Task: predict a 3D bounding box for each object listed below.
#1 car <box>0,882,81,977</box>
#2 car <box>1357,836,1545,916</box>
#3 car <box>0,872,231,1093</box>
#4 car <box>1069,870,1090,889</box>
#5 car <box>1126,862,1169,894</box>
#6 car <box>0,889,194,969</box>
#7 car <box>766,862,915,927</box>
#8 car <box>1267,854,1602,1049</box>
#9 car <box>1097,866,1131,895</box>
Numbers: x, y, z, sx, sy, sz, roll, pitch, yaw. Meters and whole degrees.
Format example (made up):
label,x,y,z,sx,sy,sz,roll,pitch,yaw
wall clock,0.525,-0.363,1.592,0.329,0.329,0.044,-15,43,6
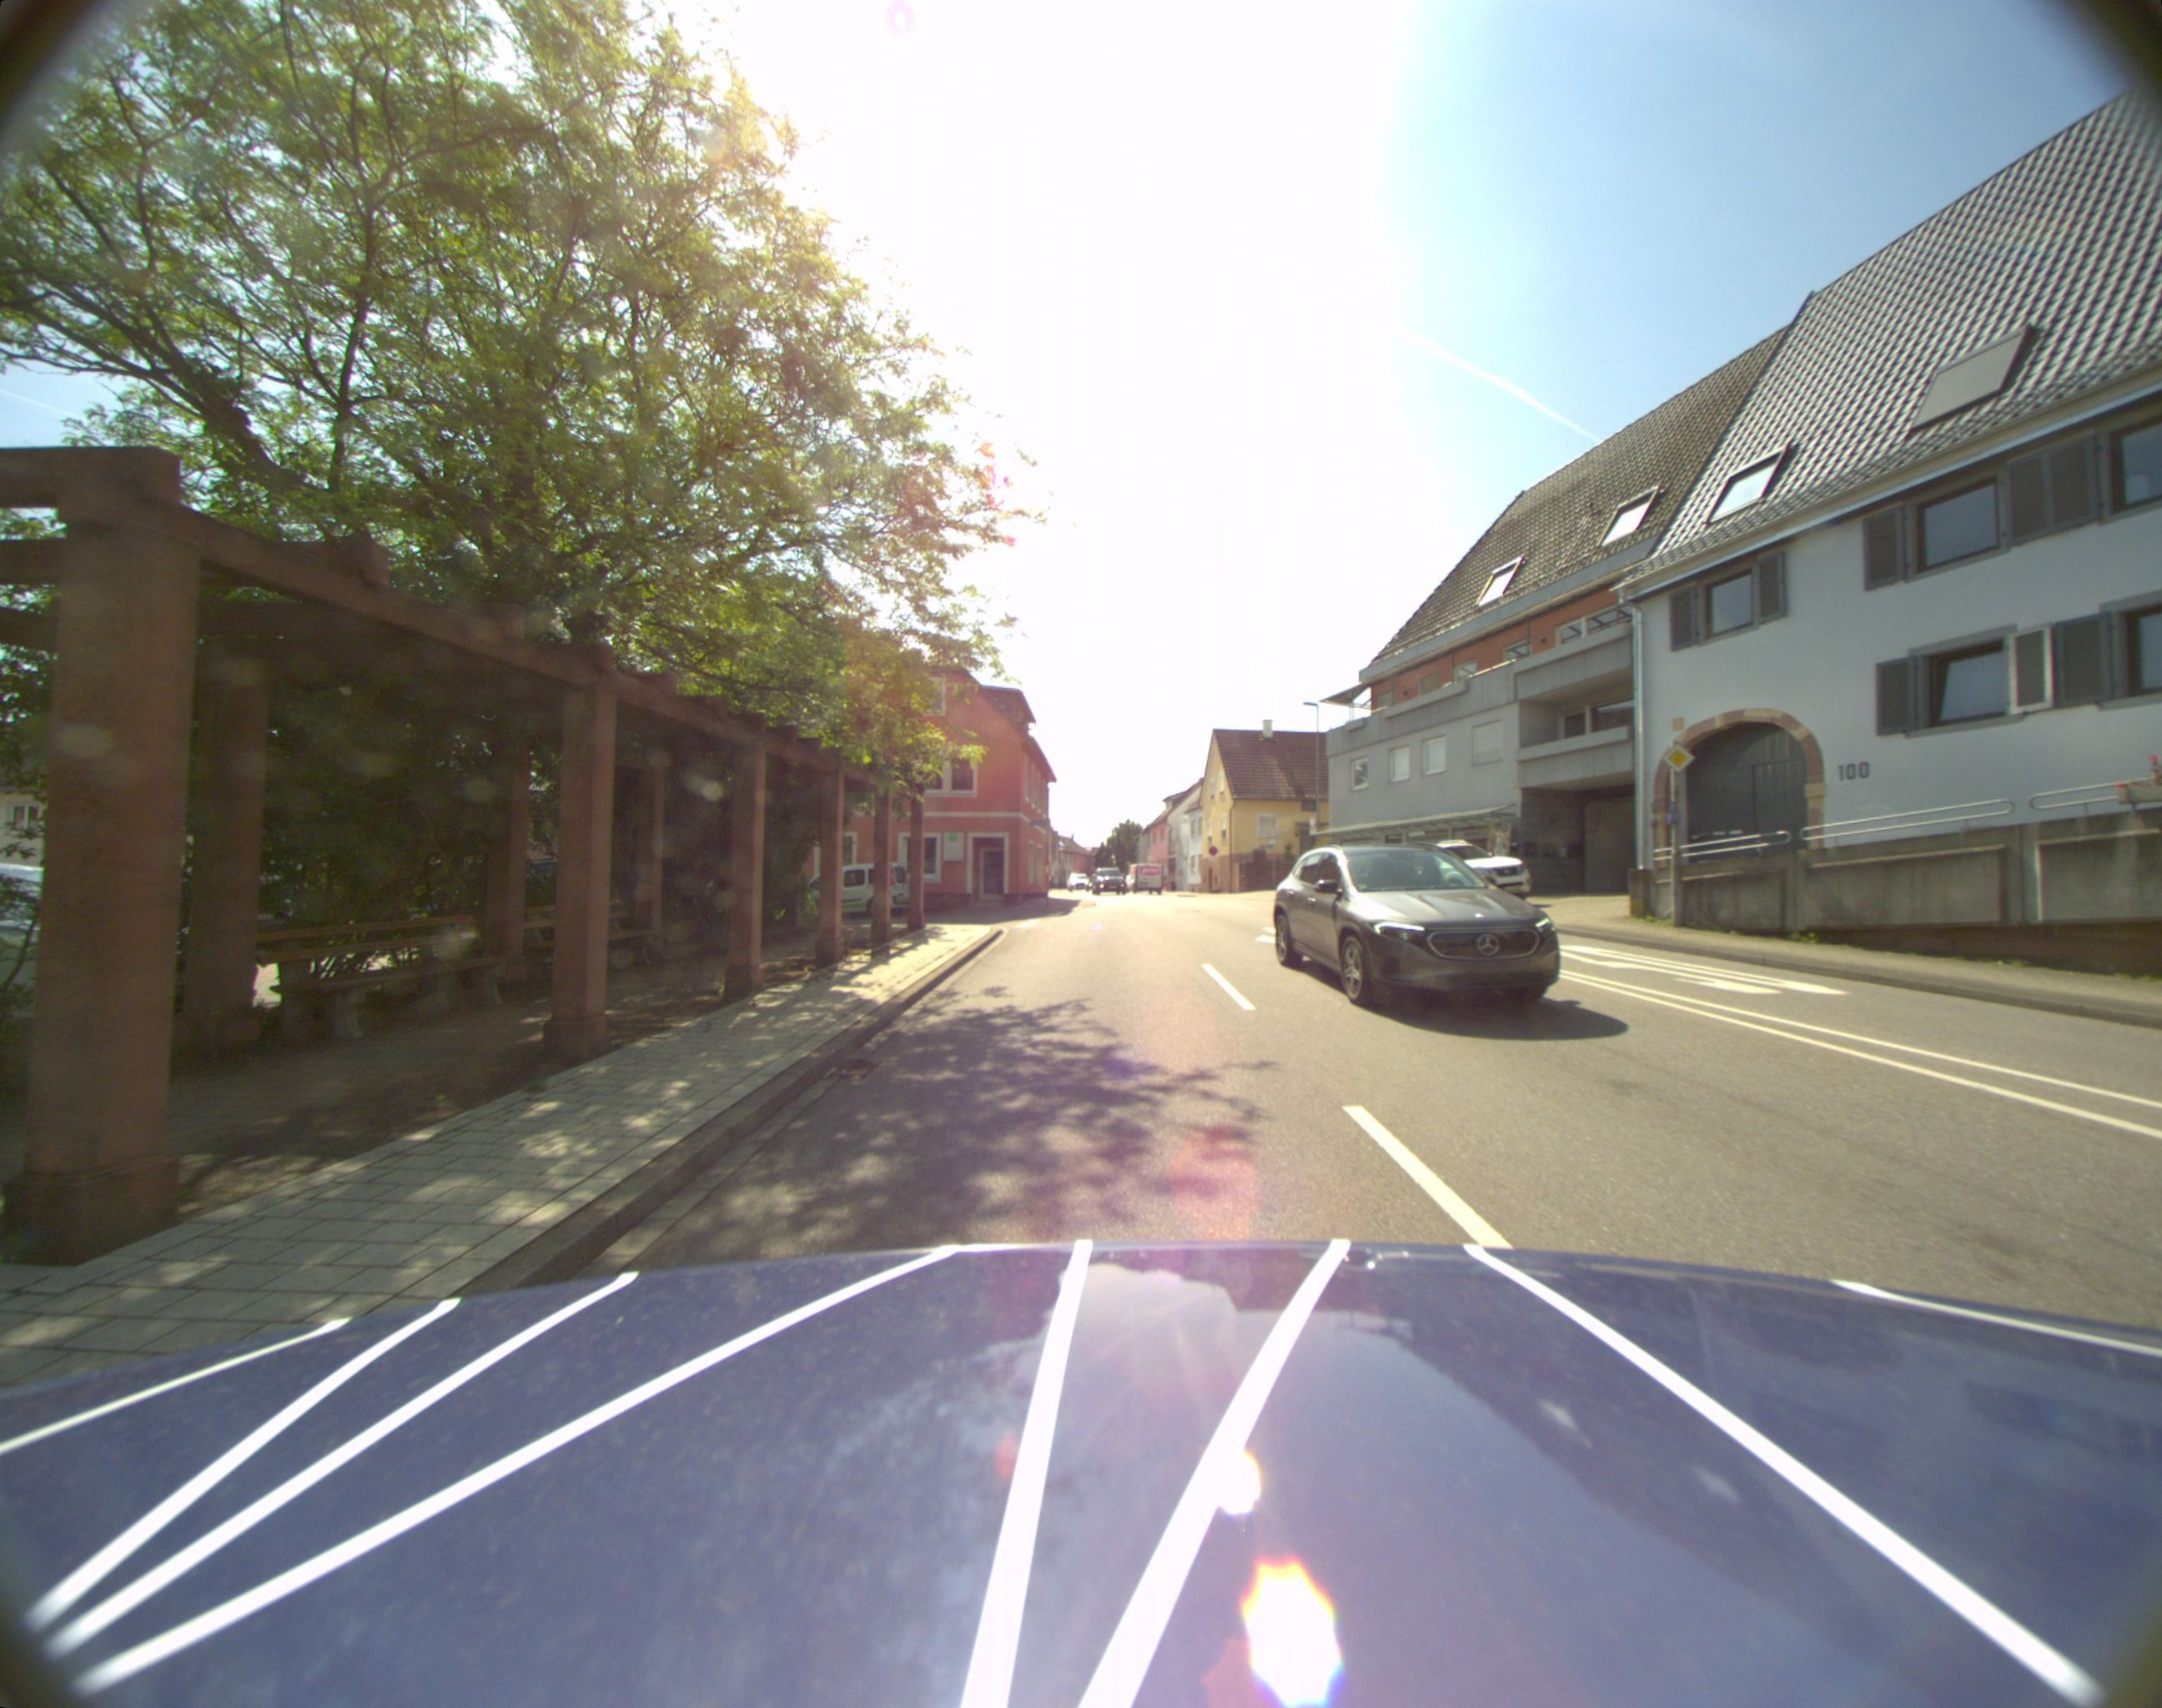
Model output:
label,x,y,z,sx,sy,sz,roll,pitch,yaw
car,-19.059,1.216,12.138,3.881,1.482,1.654,0,0,-2
car,10.126,0.590,21.407,1.810,1.787,5.281,-6,0,-11
car,-9.848,0.929,5.879,4.492,1.535,1.725,0,0,-2
car,-0.180,2.319,69.785,1.780,1.533,4.098,-1,0,-3
car,4.337,1.559,50.148,1.974,1.921,5.313,1,-1,-4
car,-20.286,1.439,14.905,3.881,1.423,1.520,0,0,-2
car,-7.676,1.282,24.479,4.096,1.743,1.813,-4,-1,5
car,3.452,0.812,8.439,1.737,1.564,4.290,-2,0,1
car,1.996,1.592,46.864,1.792,1.642,4.393,0,0,-2
